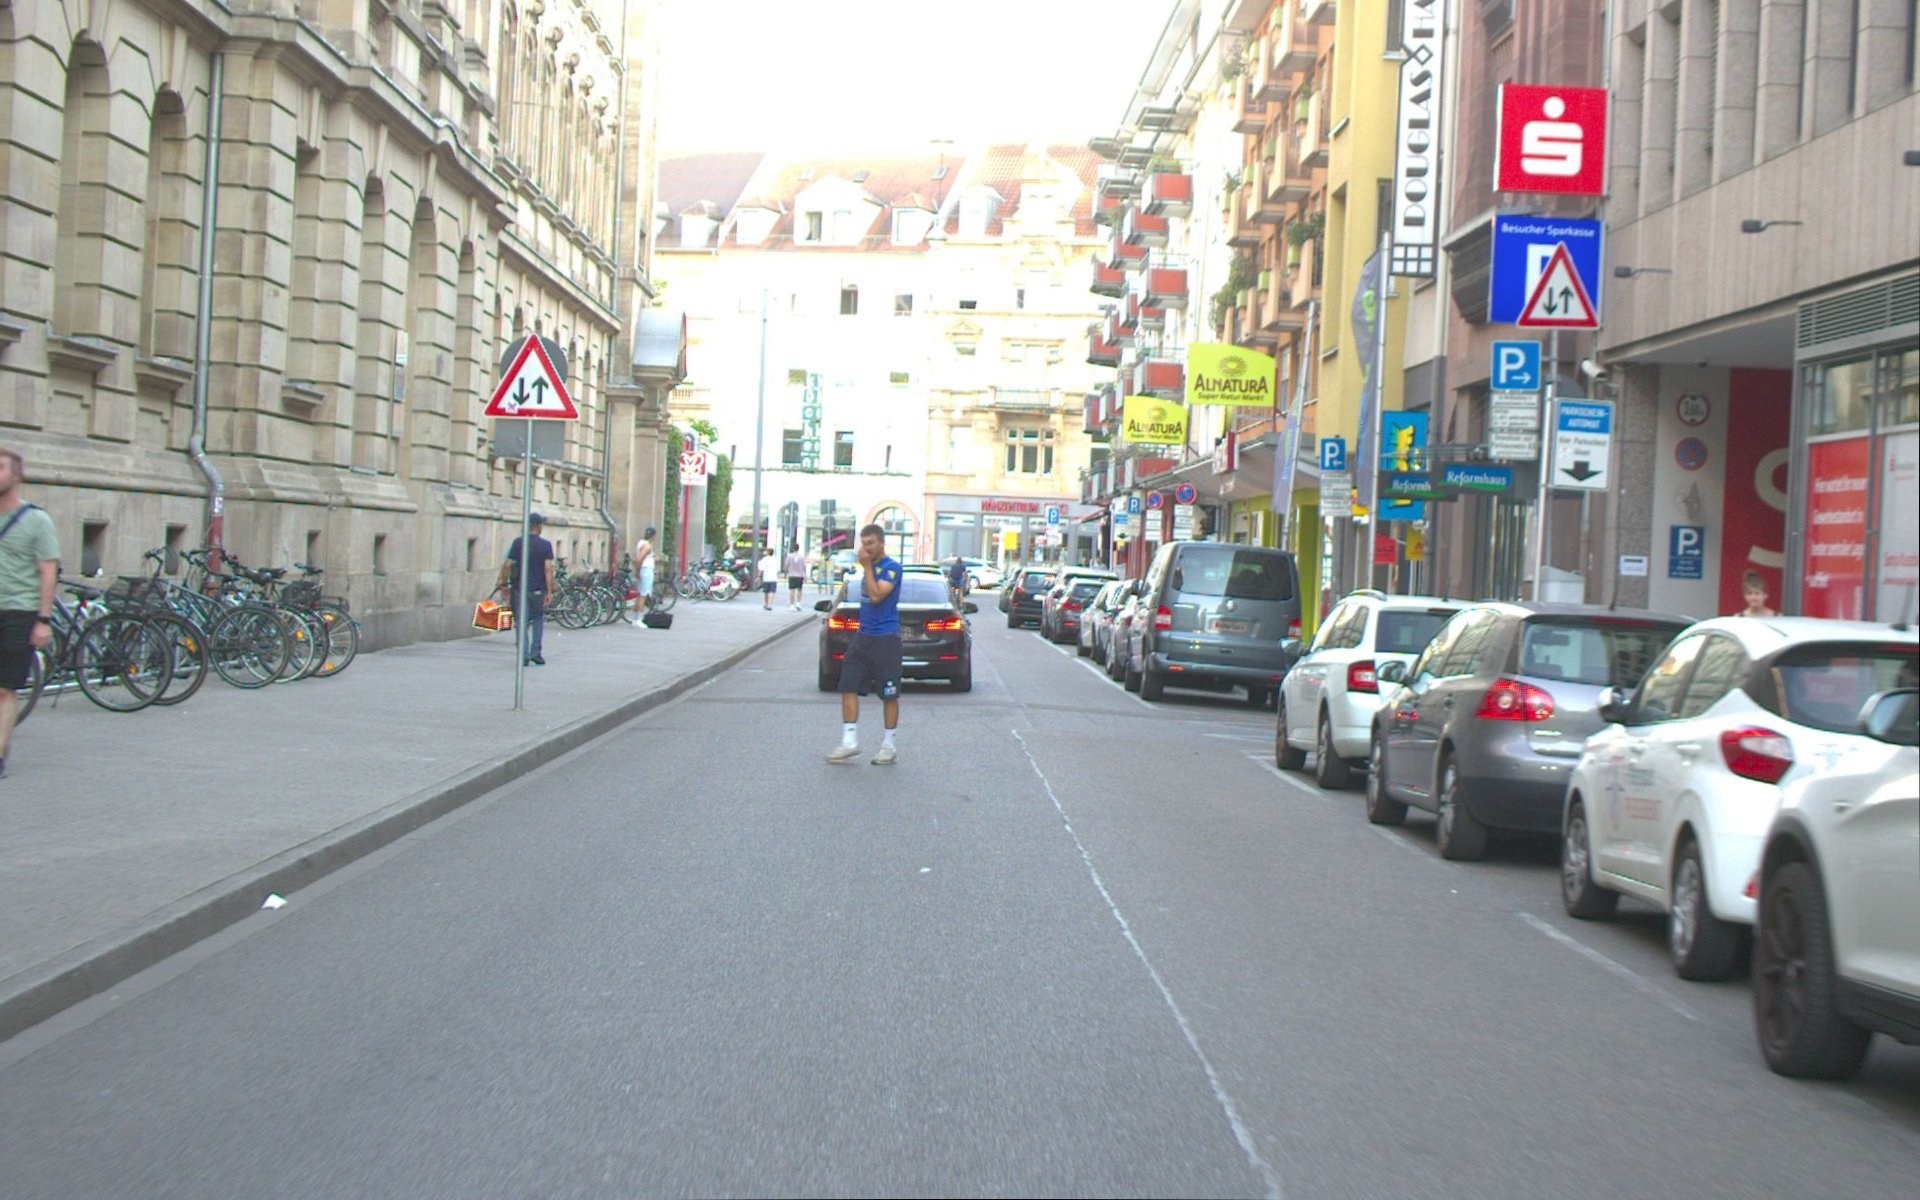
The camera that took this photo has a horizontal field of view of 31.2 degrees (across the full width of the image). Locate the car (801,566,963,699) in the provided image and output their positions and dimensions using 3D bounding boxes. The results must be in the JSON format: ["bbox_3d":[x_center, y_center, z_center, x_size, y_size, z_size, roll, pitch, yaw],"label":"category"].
[{"bbox_3d":[-0.893,0.349,41.604,1.765,1.370,4.791,3,1,0],"label":"car"}]

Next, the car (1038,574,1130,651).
[{"bbox_3d":[2.627,0.236,73.828,1.691,1.410,4.756,5,1,0],"label":"car"}]

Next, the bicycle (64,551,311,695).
[{"bbox_3d":[-6.650,0.197,29.677,1.937,1.074,0.730,5,0,-7],"label":"bicycle"}]

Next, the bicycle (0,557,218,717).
[{"bbox_3d":[-6.682,0.264,26.053,1.937,1.074,0.730,5,0,-7],"label":"bicycle"}]

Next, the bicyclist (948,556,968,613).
[{"bbox_3d":[-0.065,-0.488,108.343,0.523,1.750,0.620,3,0,1],"label":"bicyclist"}]

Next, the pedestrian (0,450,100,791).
[{"bbox_3d":[-5.144,0.089,18.482,0.717,1.774,0.800,4,0,0],"label":"pedestrian"}]

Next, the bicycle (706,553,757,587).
[{"bbox_3d":[-8.377,-1.114,126.191,1.794,1.104,0.500,4,0,-5],"label":"bicycle"}]

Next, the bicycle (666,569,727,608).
[{"bbox_3d":[-8.134,-0.366,106.114,1.794,1.104,0.500,3,1,0],"label":"bicycle"}]

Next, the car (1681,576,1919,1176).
[{"bbox_3d":[3.583,0.822,9.665,1.776,1.660,4.814,4,0,-3],"label":"car"}]

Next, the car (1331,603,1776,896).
[{"bbox_3d":[3.432,0.809,20.697,1.656,1.443,4.446,4,0,-2],"label":"car"}]

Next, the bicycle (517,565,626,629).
[{"bbox_3d":[-7.206,-0.056,63.788,1.937,1.058,0.620,4,0,-6],"label":"bicycle"}]

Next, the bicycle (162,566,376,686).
[{"bbox_3d":[-6.810,0.253,33.950,1.935,1.042,0.722,4,1,-5],"label":"bicycle"}]

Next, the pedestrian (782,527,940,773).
[{"bbox_3d":[-0.738,0.362,25.629,0.818,1.782,0.778,1,1,-42],"label":"pedestrian"}]

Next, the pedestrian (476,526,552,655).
[{"bbox_3d":[-6.279,-0.140,48.436,0.828,1.740,0.769,5,1,0],"label":"pedestrian"}]

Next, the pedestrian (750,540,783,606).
[{"bbox_3d":[-5.485,-0.771,97.518,0.741,1.806,1.009,5,1,-1],"label":"pedestrian"}]

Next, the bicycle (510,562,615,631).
[{"bbox_3d":[-7.134,-0.064,61.773,1.794,1.104,0.500,4,0,-6],"label":"bicycle"}]

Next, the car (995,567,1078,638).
[{"bbox_3d":[1.983,0.042,88.042,1.794,1.604,4.486,5,1,4],"label":"car"}]

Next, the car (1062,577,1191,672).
[{"bbox_3d":[2.919,0.406,60.977,1.691,1.406,4.640,5,1,-3],"label":"car"}]

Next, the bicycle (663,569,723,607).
[{"bbox_3d":[-8.266,-0.373,106.459,1.794,1.104,0.500,3,1,-1],"label":"bicycle"}]

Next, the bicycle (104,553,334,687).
[{"bbox_3d":[-6.831,0.178,31.764,1.937,1.074,0.730,5,0,-7],"label":"bicycle"}]

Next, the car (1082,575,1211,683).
[{"bbox_3d":[2.987,0.441,55.805,1.618,1.511,4.174,5,1,-2],"label":"car"}]

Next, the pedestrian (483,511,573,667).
[{"bbox_3d":[-5.019,-0.125,39.978,0.809,1.744,0.969,4,0,-1],"label":"pedestrian"}]

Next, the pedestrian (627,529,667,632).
[{"bbox_3d":[-5.750,-0.363,63.171,0.588,1.845,0.754,4,1,-6],"label":"pedestrian"}]

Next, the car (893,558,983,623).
[{"bbox_3d":[-0.514,-0.242,83.709,1.878,1.468,4.000,2,1,3],"label":"car"}]

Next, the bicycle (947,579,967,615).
[{"bbox_3d":[-0.088,-0.106,108.340,0.536,1.104,1.800,3,0,1],"label":"bicycle"}]

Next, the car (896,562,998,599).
[{"bbox_3d":[-0.592,-0.912,161.634,4.357,1.557,1.866,2,0,22],"label":"car"}]

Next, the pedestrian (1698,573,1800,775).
[{"bbox_3d":[6.499,0.598,28.336,0.648,1.630,0.650,1,0,-2],"label":"pedestrian"}]

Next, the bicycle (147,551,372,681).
[{"bbox_3d":[-6.716,0.153,33.030,1.937,1.074,0.748,5,0,-1],"label":"bicycle"}]

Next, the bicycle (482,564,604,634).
[{"bbox_3d":[-7.062,-0.019,58.306,1.937,1.058,0.620,4,0,-1],"label":"bicycle"}]

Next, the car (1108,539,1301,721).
[{"bbox_3d":[3.036,0.347,43.600,1.846,2.051,5.054,4,0,-1],"label":"car"}]

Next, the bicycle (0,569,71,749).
[{"bbox_3d":[-6.621,0.297,21.377,1.937,1.074,0.730,5,0,-3],"label":"bicycle"}]

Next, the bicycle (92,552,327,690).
[{"bbox_3d":[-6.752,0.186,30.992,1.937,1.074,0.730,5,0,-7],"label":"bicycle"}]

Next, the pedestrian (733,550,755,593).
[{"bbox_3d":[-7.727,-1.021,123.057,0.509,1.474,0.512,4,1,23],"label":"pedestrian"}]

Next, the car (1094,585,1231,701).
[{"bbox_3d":[2.937,0.596,50.692,1.687,1.448,4.498,5,1,1],"label":"car"}]

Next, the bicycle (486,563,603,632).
[{"bbox_3d":[-7.195,-0.046,59.554,1.937,1.058,0.620,4,0,-6],"label":"bicycle"}]

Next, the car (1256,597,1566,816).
[{"bbox_3d":[3.402,0.760,26.671,1.656,1.443,4.308,4,0,-1],"label":"car"}]

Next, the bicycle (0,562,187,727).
[{"bbox_3d":[-6.652,0.291,24.864,1.937,1.074,0.730,5,0,-7],"label":"bicycle"}]

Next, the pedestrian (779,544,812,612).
[{"bbox_3d":[-4.676,-0.635,97.733,0.744,1.887,1.050,4,1,0],"label":"pedestrian"}]

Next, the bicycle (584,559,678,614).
[{"bbox_3d":[-7.443,-0.302,77.693,1.936,1.058,0.620,6,0,-15],"label":"bicycle"}]

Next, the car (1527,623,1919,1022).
[{"bbox_3d":[3.694,0.893,15.151,1.656,1.443,3.869,4,0,0],"label":"car"}]

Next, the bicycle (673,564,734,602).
[{"bbox_3d":[-8.102,-0.539,108.635,1.794,1.104,0.500,4,0,3],"label":"bicycle"}]
